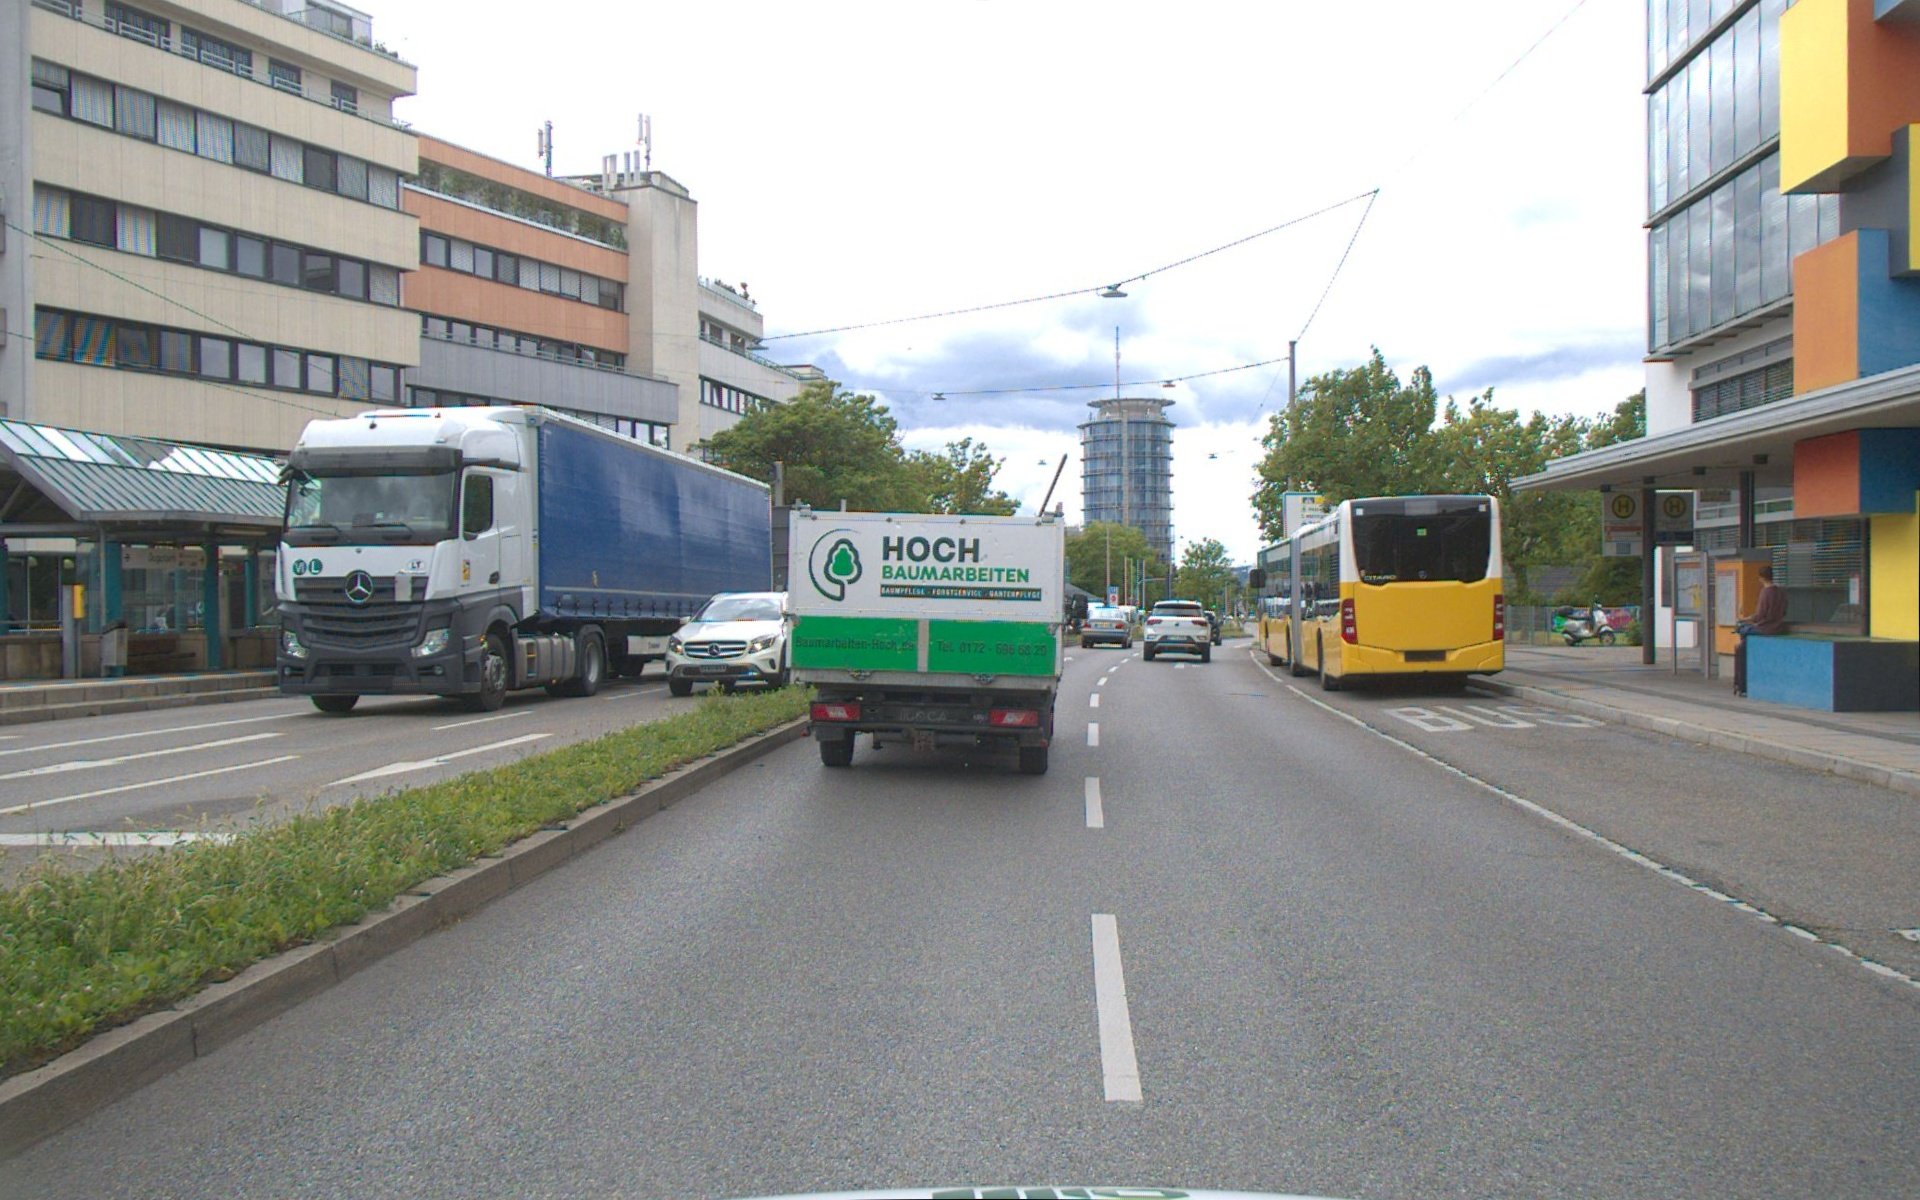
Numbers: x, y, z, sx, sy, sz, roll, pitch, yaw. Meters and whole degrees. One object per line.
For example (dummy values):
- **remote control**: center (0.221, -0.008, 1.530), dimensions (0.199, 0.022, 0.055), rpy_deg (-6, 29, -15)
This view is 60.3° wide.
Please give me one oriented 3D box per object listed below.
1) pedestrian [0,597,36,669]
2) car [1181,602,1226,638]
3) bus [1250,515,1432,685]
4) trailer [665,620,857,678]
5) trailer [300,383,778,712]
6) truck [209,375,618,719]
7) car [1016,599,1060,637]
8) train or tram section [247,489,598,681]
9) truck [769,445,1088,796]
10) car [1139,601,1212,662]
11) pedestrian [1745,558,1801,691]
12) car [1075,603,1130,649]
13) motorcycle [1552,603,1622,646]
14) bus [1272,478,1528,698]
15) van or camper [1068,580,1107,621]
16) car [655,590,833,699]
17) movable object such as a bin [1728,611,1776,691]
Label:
- **pedestrian**: center (-23.669, 0.821, 41.330), dimensions (0.792, 1.766, 0.652), rpy_deg (0, 0, 10)
- **car**: center (10.747, 0.845, 73.237), dimensions (1.828, 1.531, 4.776), rpy_deg (0, 0, 6)
- **bus**: center (8.566, 0.050, 38.375), dimensions (2.919, 3.297, 9.872), rpy_deg (3, 0, 7)
- **trailer**: center (-5.202, 1.263, 46.049), dimensions (2.780, 1.356, 12.133), rpy_deg (-1, -1, 5)
- **trailer**: center (-6.435, -0.748, 29.386), dimensions (3.036, 4.344, 14.858), rpy_deg (0, 0, 7)
- **truck**: center (-7.217, -0.649, 22.921), dimensions (3.025, 4.092, 6.160), rpy_deg (0, 0, 7)
- **car**: center (3.277, 0.741, 69.299), dimensions (1.554, 1.528, 3.721), rpy_deg (0, 0, 7)
- **train or tram section**: center (-11.622, -0.303, 37.657), dimensions (2.699, 3.648, 12.012), rpy_deg (0, 0, 7)
- **truck**: center (-0.084, 0.142, 15.968), dimensions (2.419, 2.657, 6.550), rpy_deg (1, 0, 3)
- **car**: center (5.734, 0.791, 44.421), dimensions (1.828, 1.531, 4.776), rpy_deg (0, 0, 6)
- **pedestrian**: center (10.896, 0.322, 22.169), dimensions (0.497, 1.766, 0.572), rpy_deg (0, 0, 4)
- **car**: center (5.075, 0.874, 58.564), dimensions (1.828, 1.531, 4.776), rpy_deg (0, 0, 6)
- **motorcycle**: center (17.043, 0.650, 44.977), dimensions (0.811, 1.134, 1.729), rpy_deg (0, 0, -24)
- **bus**: center (7.534, -0.142, 29.711), dimensions (2.971, 3.292, 9.344), rpy_deg (-1, -1, 6)
- **van or camper**: center (8.654, 0.067, 111.748), dimensions (1.951, 2.644, 6.121), rpy_deg (-2, -1, 10)
- **car**: center (-3.279, 0.629, 25.927), dimensions (1.748, 1.542, 4.367), rpy_deg (0, 0, 7)
- **movable object such as a bin**: center (10.507, 0.672, 21.943), dimensions (0.411, 1.047, 0.533), rpy_deg (0, 0, 4)
